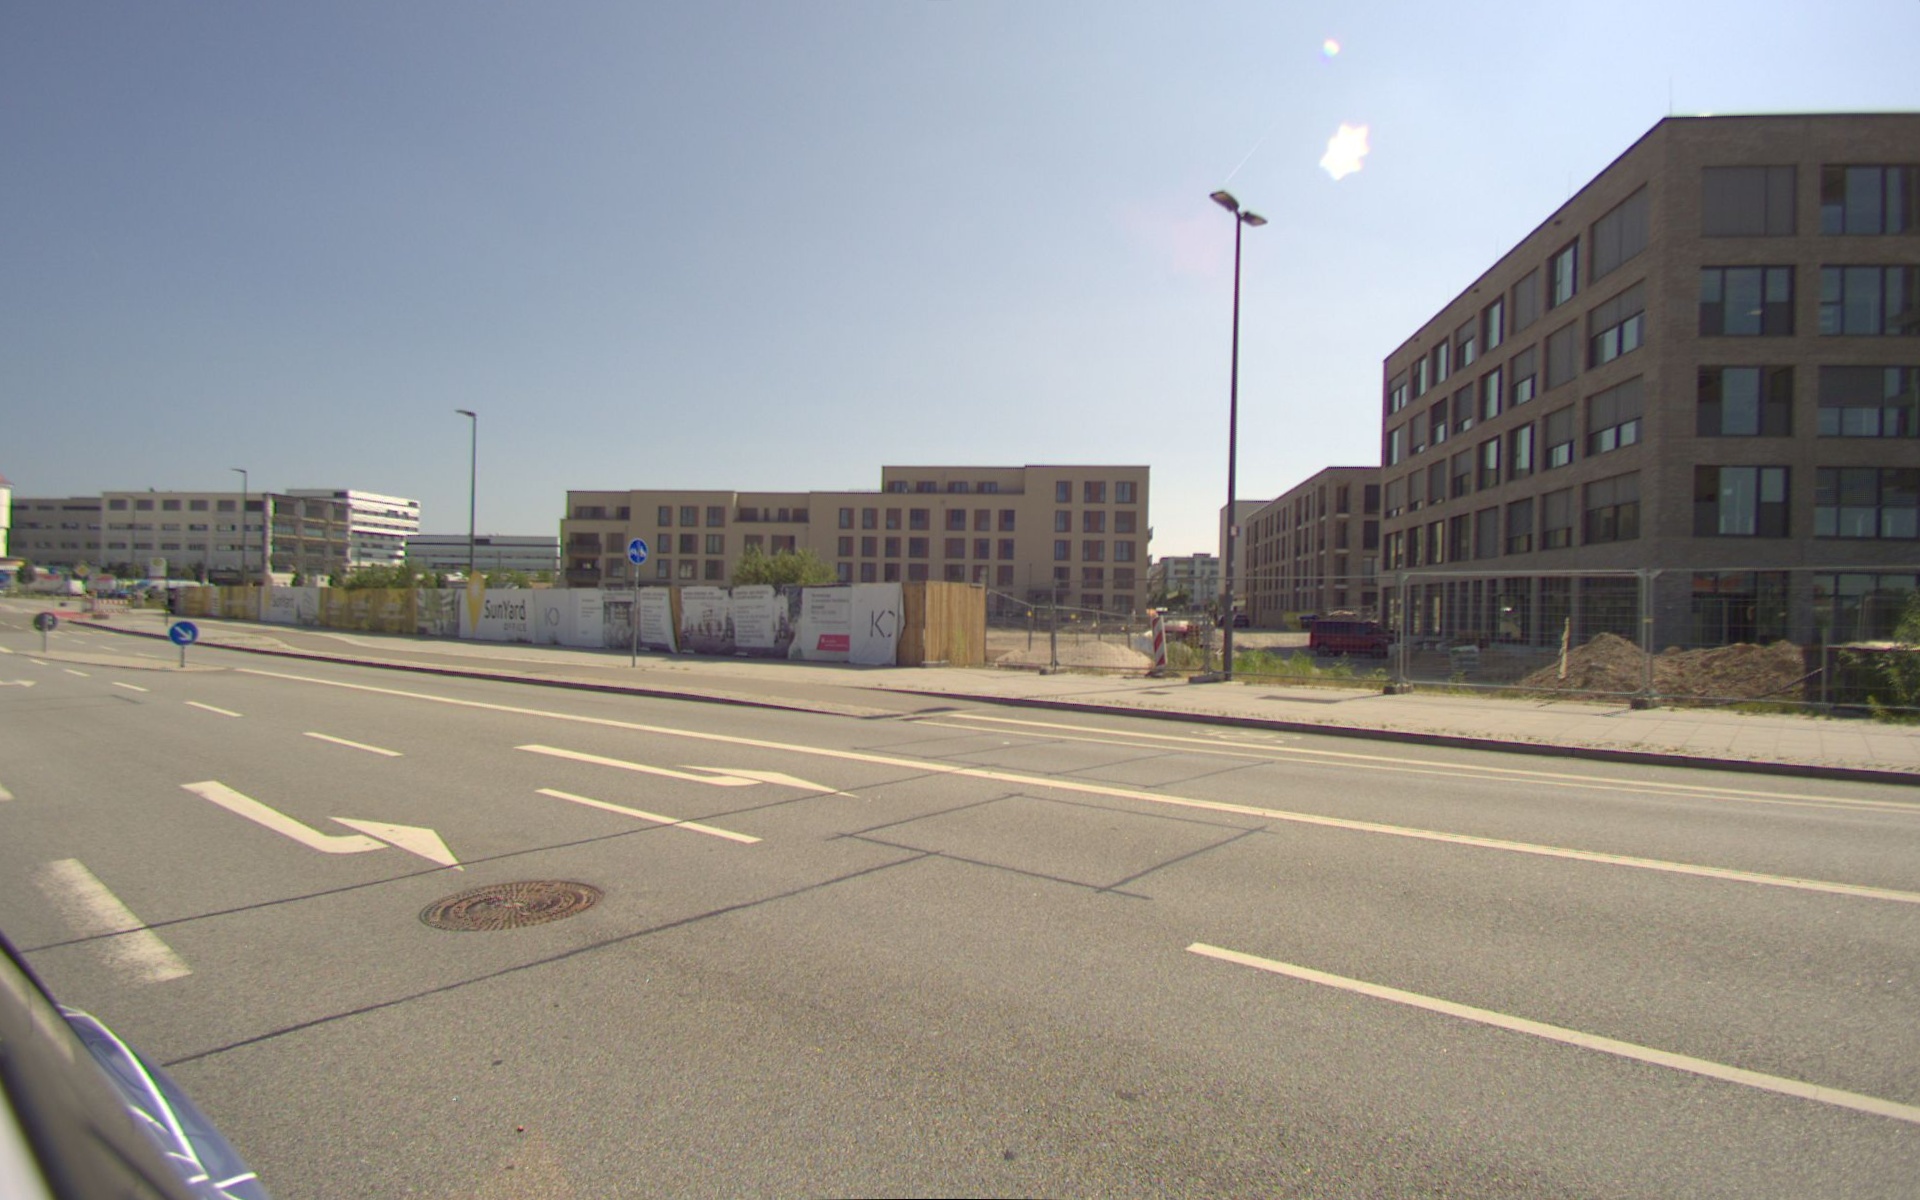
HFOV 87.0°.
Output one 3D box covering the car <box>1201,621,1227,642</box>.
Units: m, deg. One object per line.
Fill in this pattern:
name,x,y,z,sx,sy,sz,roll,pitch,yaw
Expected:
car,17.812,2.209,71.083,1.594,1.302,3.182,0,1,11
